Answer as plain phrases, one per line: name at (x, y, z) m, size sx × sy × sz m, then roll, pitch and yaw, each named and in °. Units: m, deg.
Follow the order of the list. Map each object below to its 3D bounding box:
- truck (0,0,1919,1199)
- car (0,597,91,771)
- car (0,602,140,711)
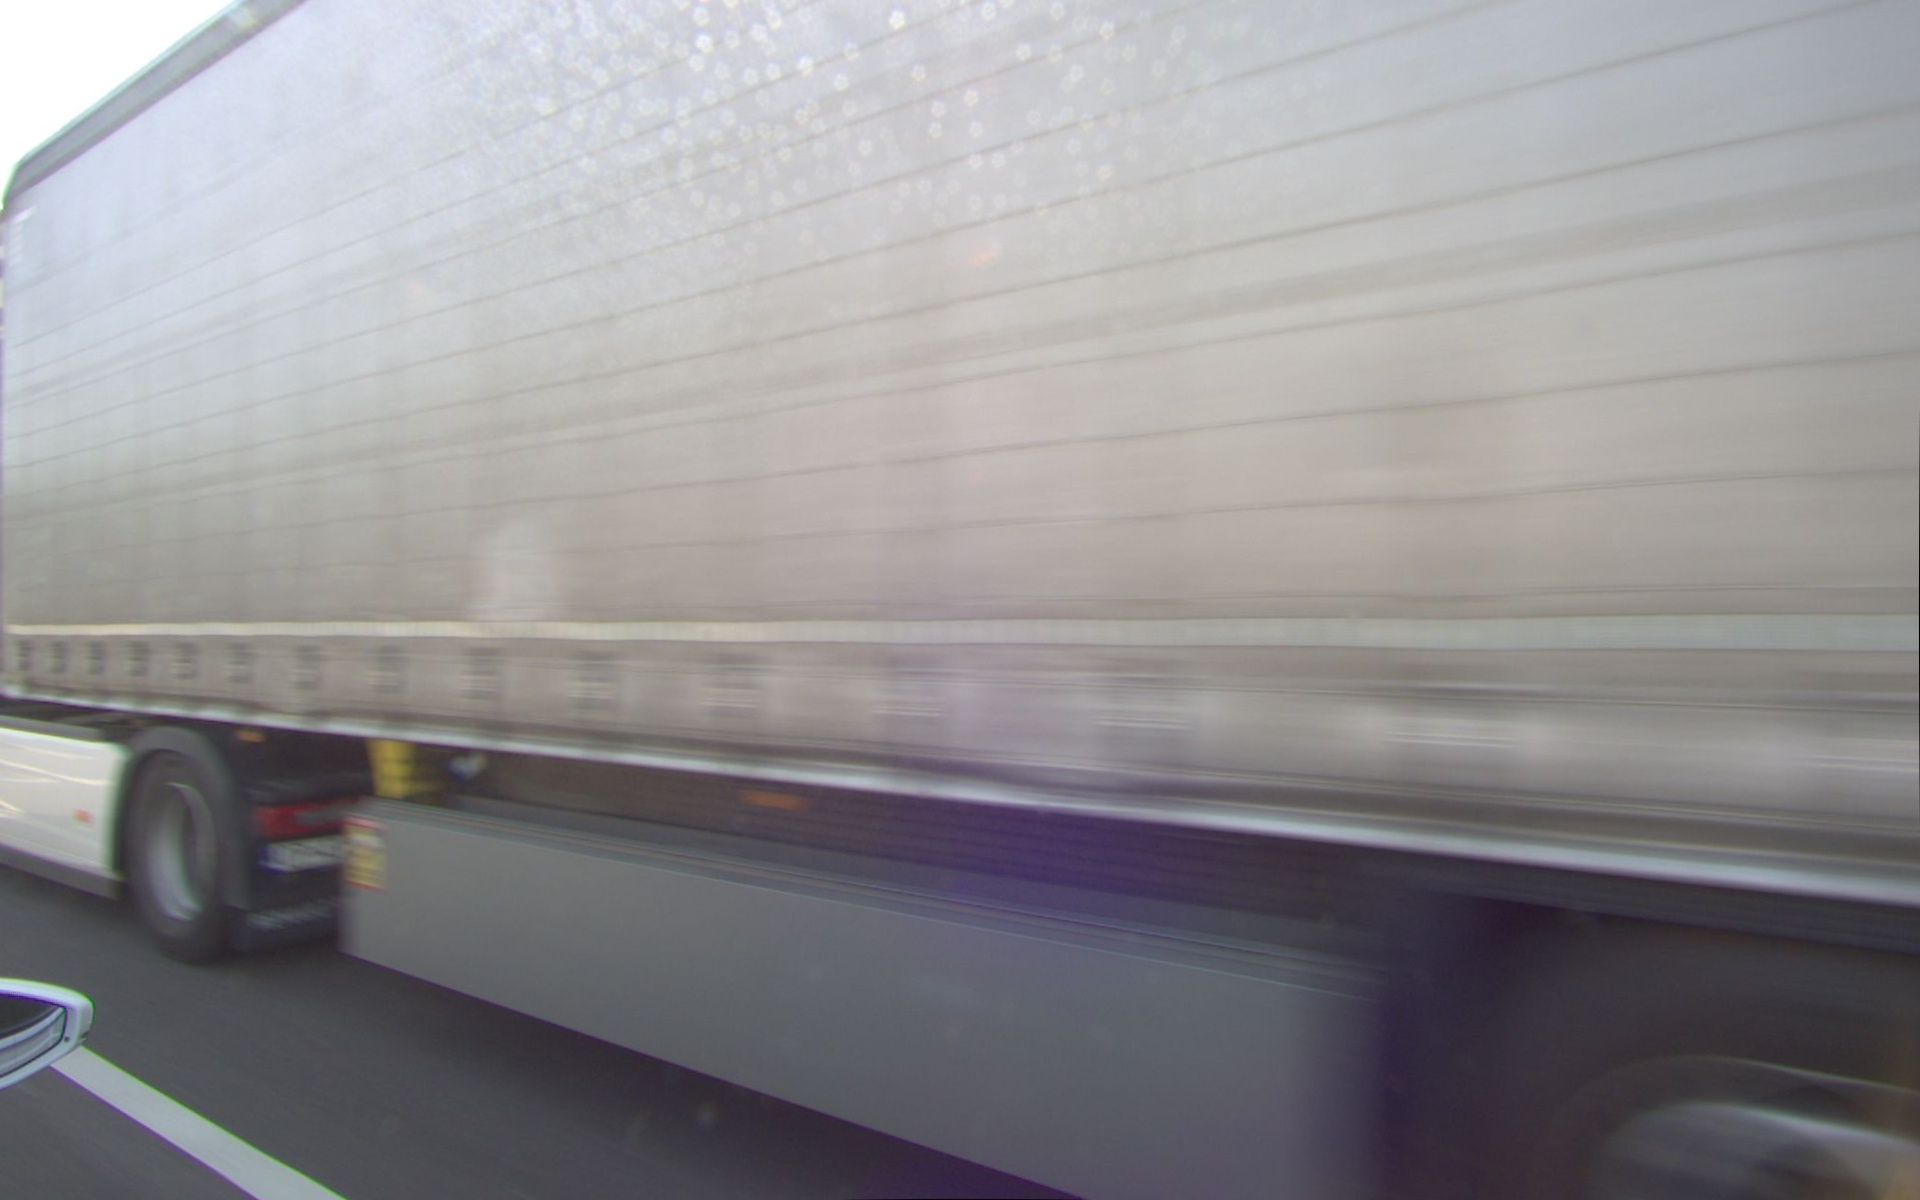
truck at (-0.072, -0.587, 3.780) m, size 16.472 × 4.319 × 2.886 m, roll -1°, pitch -2°, yaw 33°
car at (-11.187, 0.830, 10.660) m, size 3.942 × 1.706 × 1.816 m, roll 0°, pitch -2°, yaw 32°
car at (-16.334, 0.937, 17.569) m, size 3.942 × 1.706 × 1.816 m, roll 0°, pitch -2°, yaw 32°
